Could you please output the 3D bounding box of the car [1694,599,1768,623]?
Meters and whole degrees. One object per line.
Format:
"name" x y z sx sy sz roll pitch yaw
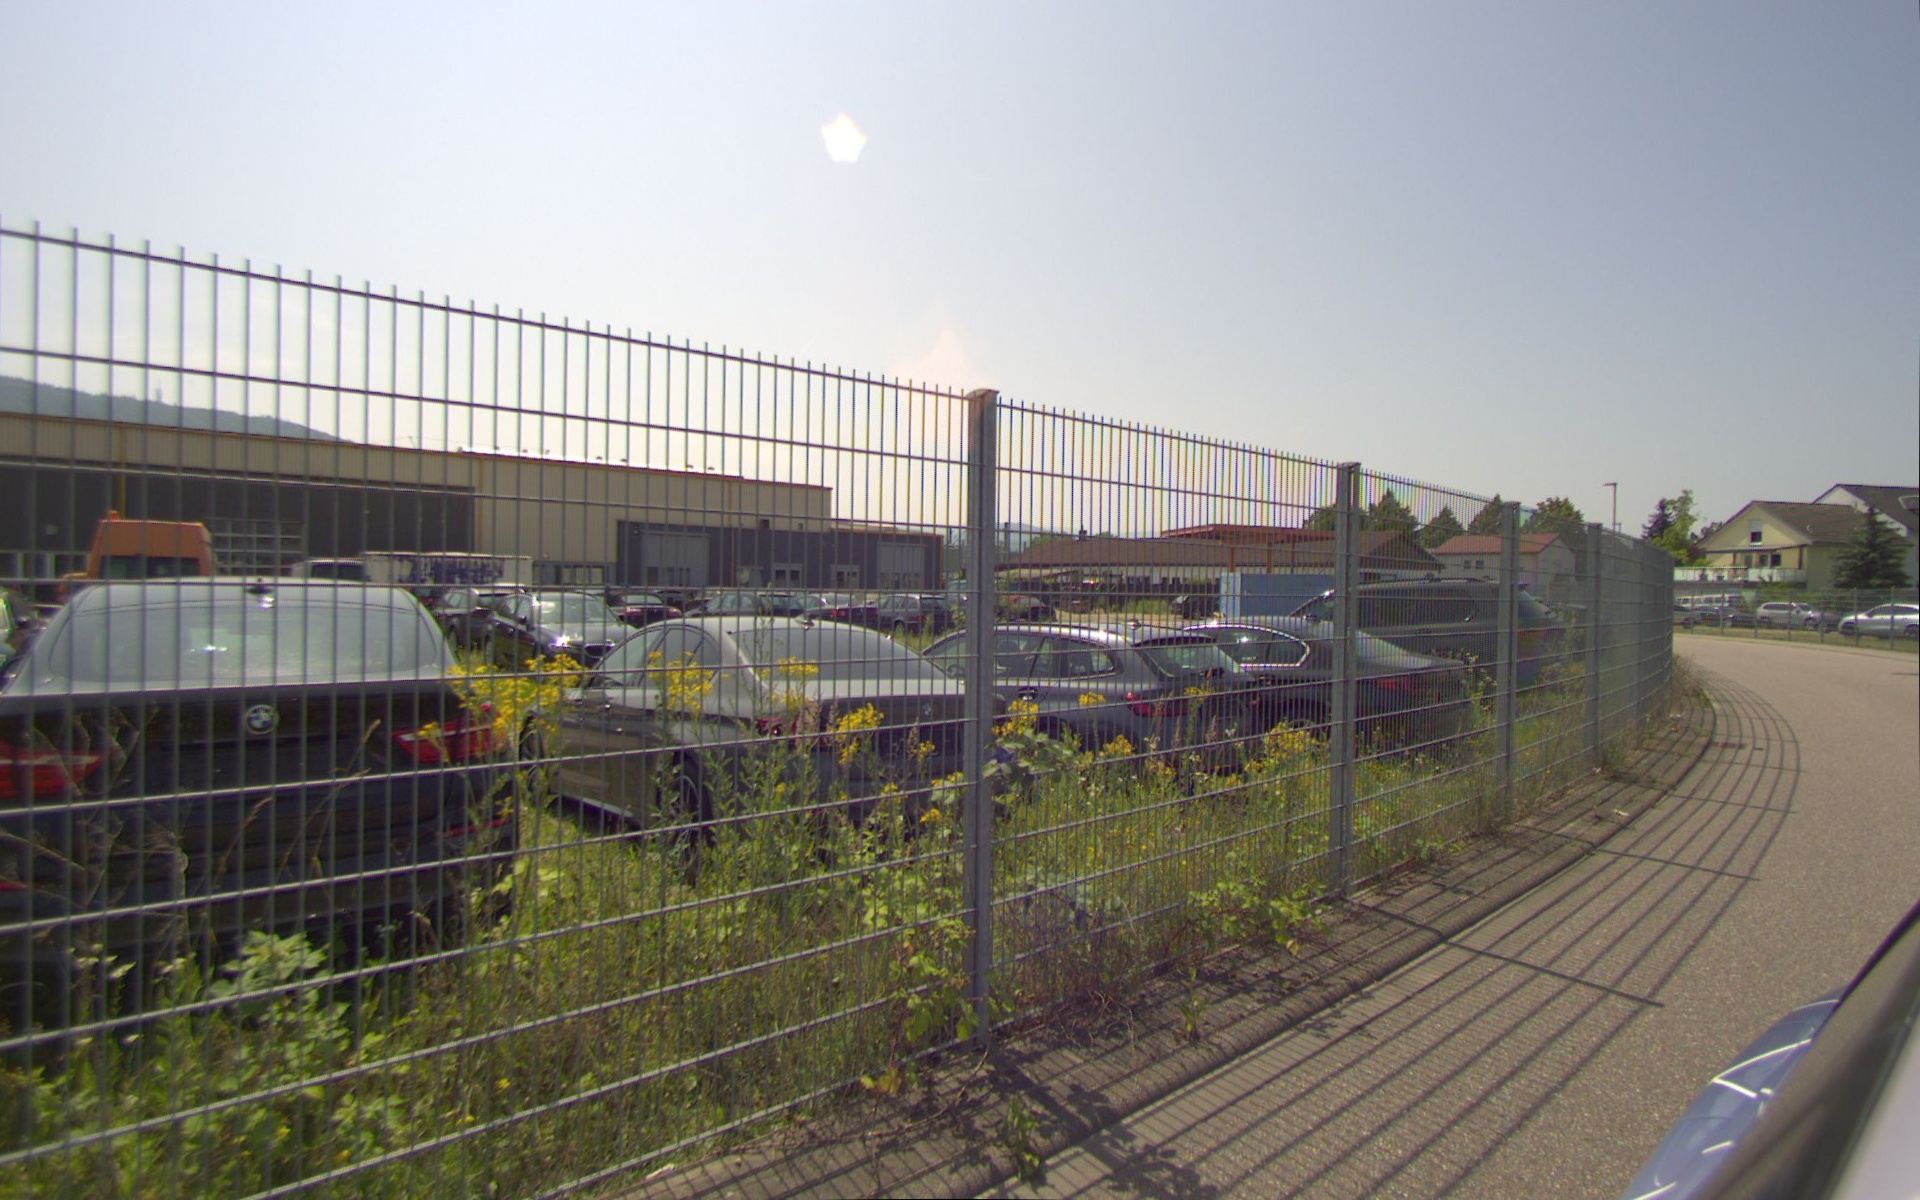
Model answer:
"car" 50.624 0.689 66.542 1.783 1.482 3.688 0 1 -7

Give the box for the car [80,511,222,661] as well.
"car" -15.929 -0.298 20.142 1.943 2.617 4.746 1 1 -36

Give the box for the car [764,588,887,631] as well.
"car" -3.922 0.238 28.895 1.588 1.046 4.390 1 1 -36

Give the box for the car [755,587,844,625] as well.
"car" -6.628 0.200 41.458 1.807 1.395 4.390 1 1 -36

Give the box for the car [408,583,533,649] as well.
"car" -11.089 0.304 22.779 1.787 1.285 4.390 1 1 -36

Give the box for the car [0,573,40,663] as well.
"car" -17.842 0.268 18.139 1.559 1.480 3.829 1 1 -36

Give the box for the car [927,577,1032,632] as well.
"car" 0.698 0.139 39.813 1.807 2.006 4.390 1 1 -36

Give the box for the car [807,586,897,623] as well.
"car" -4.595 0.165 42.554 1.807 1.395 4.390 1 1 -36

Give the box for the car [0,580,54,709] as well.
"car" -13.113 0.496 13.056 1.631 1.450 4.576 1 1 -36

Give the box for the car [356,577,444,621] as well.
"car" -19.142 -0.065 34.524 1.938 1.339 4.387 1 1 -38

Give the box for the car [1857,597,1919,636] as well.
"car" 38.776 0.659 40.905 1.550 1.508 3.651 1 1 -7

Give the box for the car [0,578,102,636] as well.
"car" -26.484 0.162 29.600 1.938 1.504 4.387 1 1 -38

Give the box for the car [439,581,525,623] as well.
"car" -17.776 0.051 37.538 1.938 1.403 4.387 1 1 -38

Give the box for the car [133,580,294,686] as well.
"car" -11.809 0.419 16.111 1.787 1.368 4.759 1 1 -36

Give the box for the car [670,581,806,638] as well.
"car" -5.863 0.199 26.318 1.843 1.291 4.390 1 1 -36

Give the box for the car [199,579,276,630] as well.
"car" -22.283 0.093 31.227 1.807 1.395 4.390 1 1 -36

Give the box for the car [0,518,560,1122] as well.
"car" -3.399 0.561 5.046 1.690 1.690 4.486 1 1 -34

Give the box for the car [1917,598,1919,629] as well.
"car" 47.848 0.700 47.397 1.959 1.517 4.006 1 1 -7

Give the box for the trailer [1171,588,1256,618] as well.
"trailer" 15.017 0.188 60.127 4.523 1.586 1.772 2 -1 -9

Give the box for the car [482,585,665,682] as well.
"car" -6.823 0.473 17.534 1.787 1.368 4.759 1 1 -36

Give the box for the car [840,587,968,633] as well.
"car" -1.778 0.263 30.884 1.807 1.221 4.390 1 1 -36

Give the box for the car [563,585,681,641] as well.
"car" -8.495 0.281 25.209 1.547 1.198 4.390 1 1 -36

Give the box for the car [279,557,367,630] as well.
"car" -20.689 -0.264 32.797 1.938 2.199 4.387 1 1 -38

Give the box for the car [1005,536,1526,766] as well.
"car" 2.820 0.332 10.088 4.681 1.791 1.717 2 1 41

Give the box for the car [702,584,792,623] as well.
"car" -8.367 0.106 39.543 1.807 1.395 4.390 1 1 -36

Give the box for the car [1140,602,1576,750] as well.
"car" 4.419 0.758 11.848 1.694 1.399 4.469 1 -1 -42

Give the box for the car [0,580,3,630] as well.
"car" -28.341 0.182 28.234 1.963 1.482 3.998 0 1 -37

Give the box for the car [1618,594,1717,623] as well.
"car" 40.533 0.472 58.094 4.348 1.590 1.810 1 1 26

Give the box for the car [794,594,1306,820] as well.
"car" 0.543 0.706 8.950 1.695 1.399 4.472 1 1 -45

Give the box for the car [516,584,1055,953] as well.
"car" -1.525 0.738 6.898 1.763 1.602 4.482 1 1 -37

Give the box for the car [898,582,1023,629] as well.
"car" -0.050 0.127 32.829 1.807 1.362 4.390 1 1 -36

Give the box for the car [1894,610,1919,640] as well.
"car" 42.902 1.124 43.682 1.550 1.262 3.651 1 1 -7

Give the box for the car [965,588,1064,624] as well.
"car" 1.818 0.193 34.828 1.640 1.122 3.375 1 1 -36
